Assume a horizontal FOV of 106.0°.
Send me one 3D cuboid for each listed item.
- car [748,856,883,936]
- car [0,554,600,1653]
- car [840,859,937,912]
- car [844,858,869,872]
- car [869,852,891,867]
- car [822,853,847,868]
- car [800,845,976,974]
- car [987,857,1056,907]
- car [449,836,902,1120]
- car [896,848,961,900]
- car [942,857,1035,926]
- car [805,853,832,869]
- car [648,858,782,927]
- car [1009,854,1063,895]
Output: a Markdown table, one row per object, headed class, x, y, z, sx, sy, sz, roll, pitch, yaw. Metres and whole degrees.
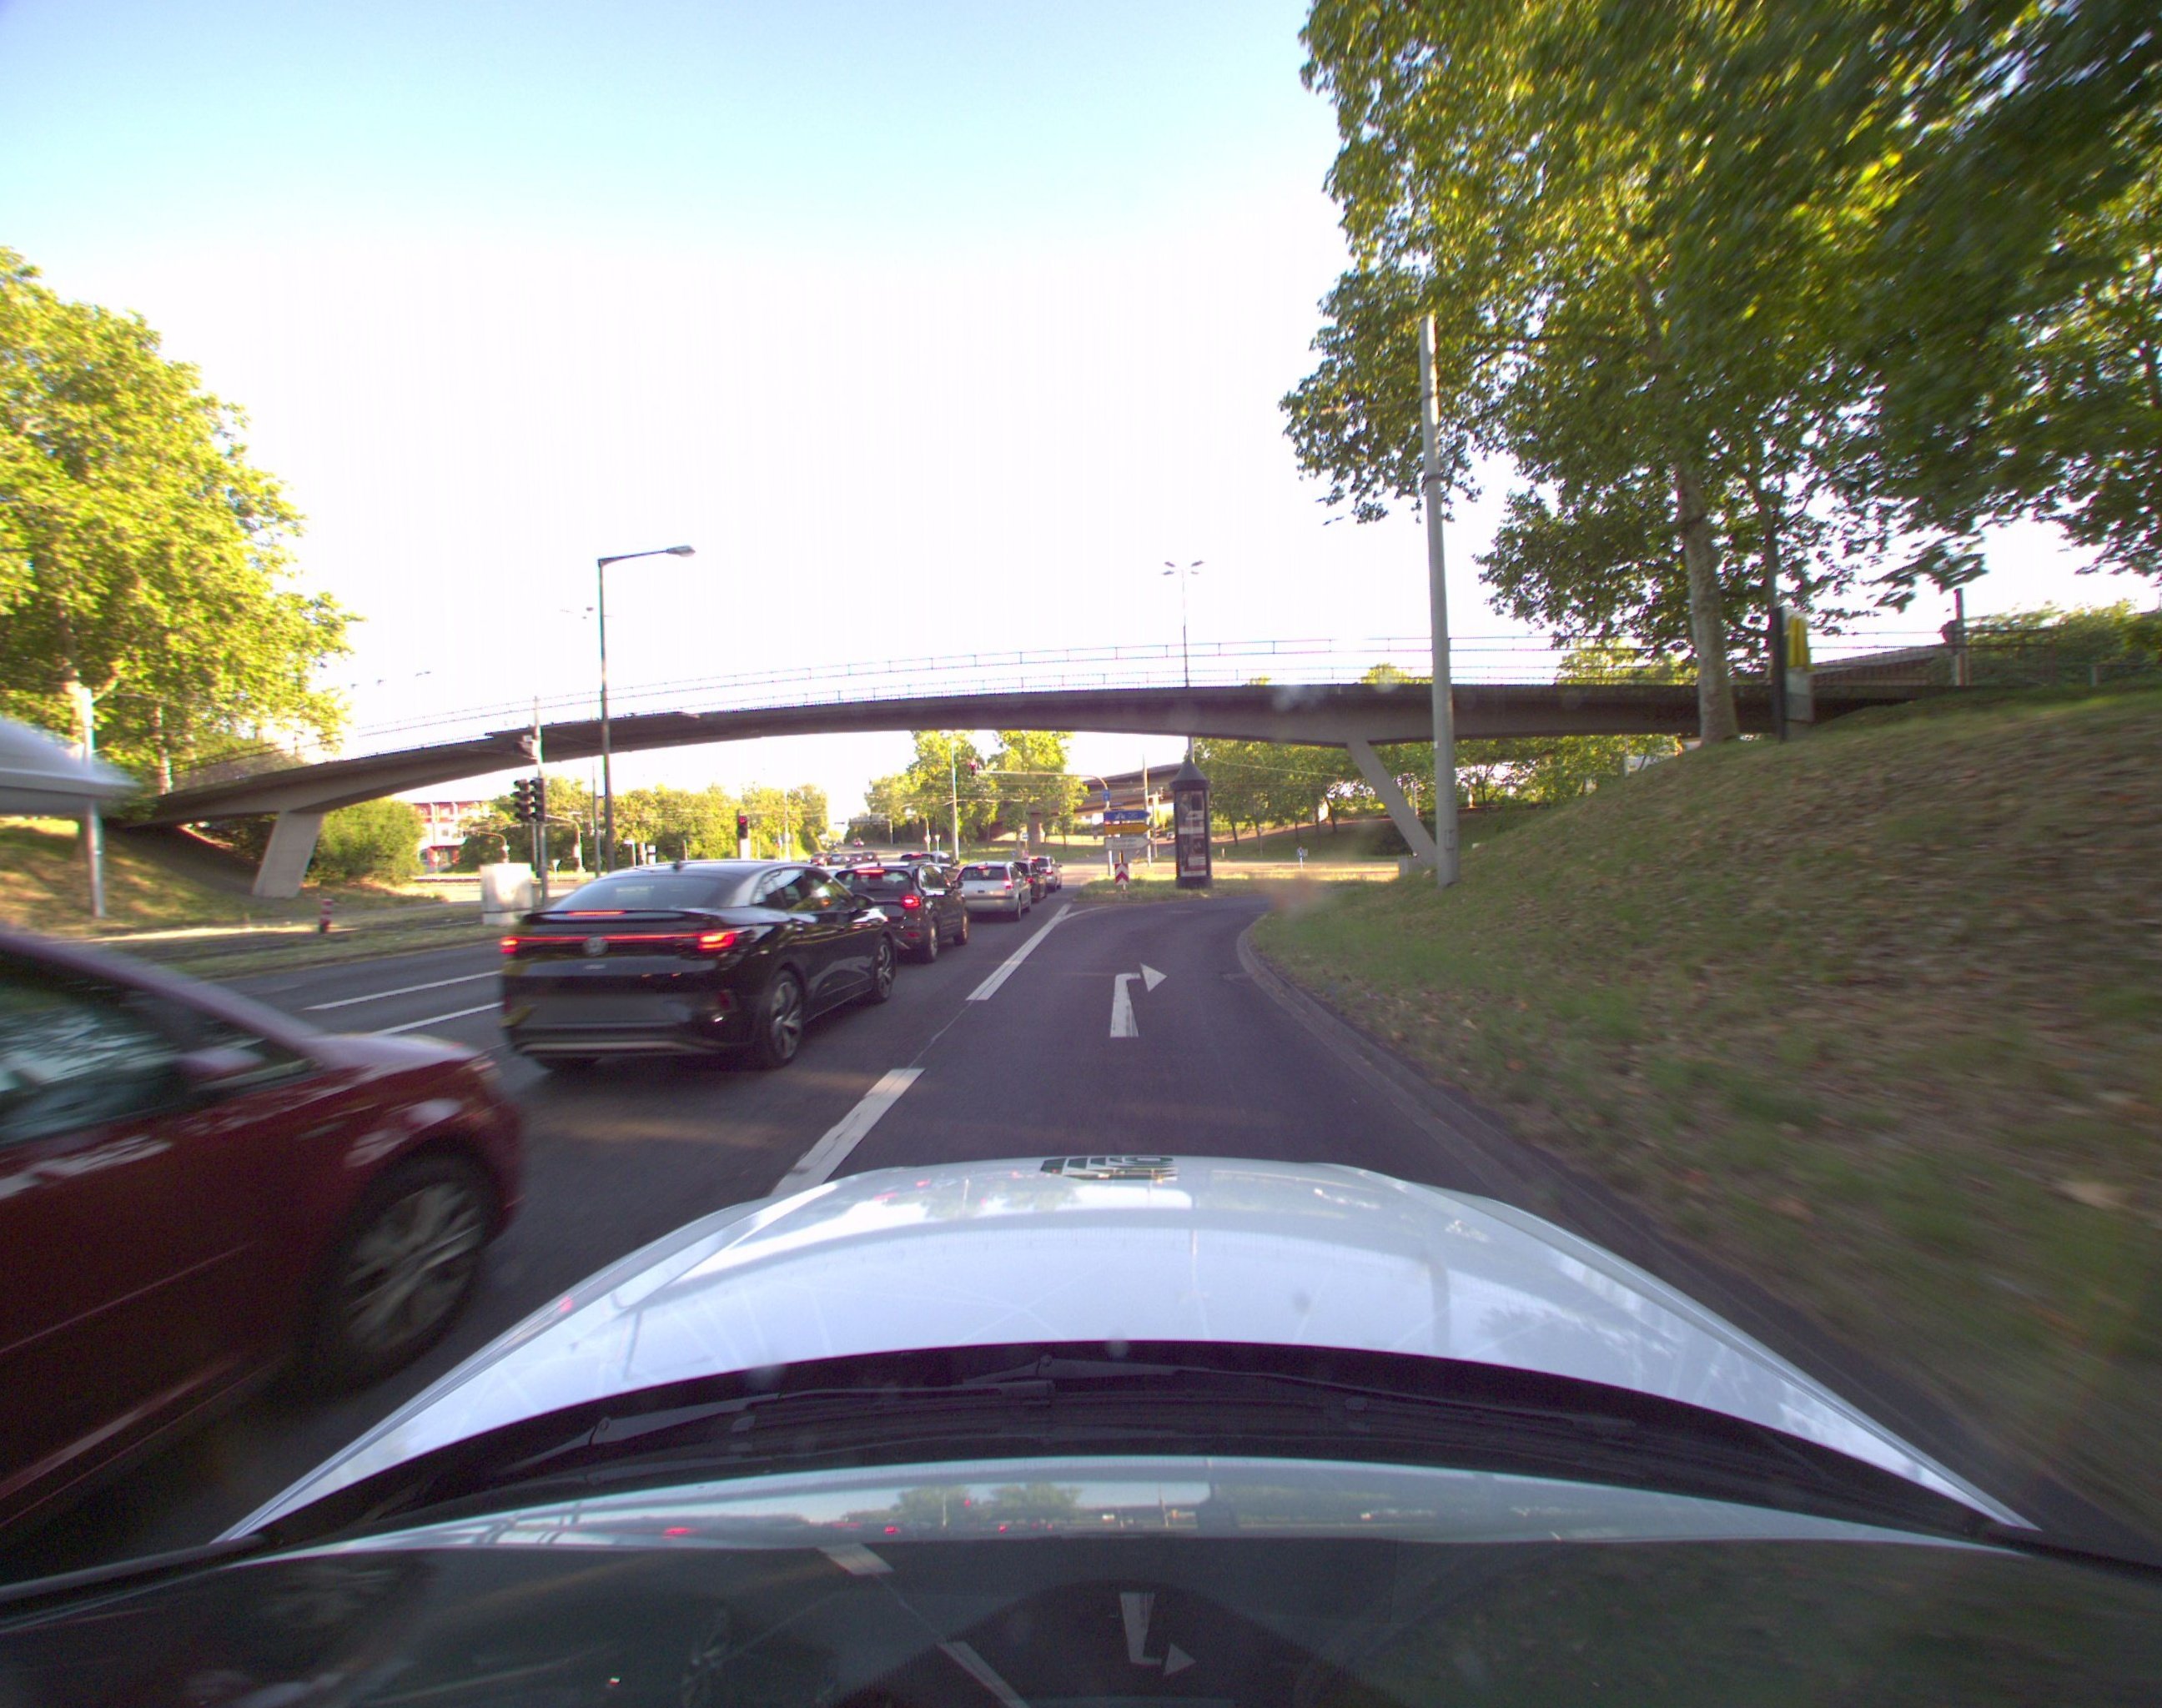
| class | x | y | z | sx | sy | sz | roll | pitch | yaw |
| --- | --- | --- | --- | --- | --- | --- | --- | --- | --- |
| car | -6.207 | 0.909 | 19.577 | 1.656 | 1.565 | 4.192 | -4 | 0 | 2 |
| car | -2.996 | 0.513 | 1.360 | 1.786 | 2.105 | 4.001 | -4 | 0 | 1 |
| car | -6.016 | 0.934 | 25.968 | 1.734 | 1.432 | 4.416 | -1 | 1 | 4 |
| car | -27.143 | 1.287 | 98.566 | 1.872 | 1.575 | 3.675 | -1 | 0 | 0 |
| car | -25.982 | 0.715 | 105.412 | 1.872 | 1.772 | 4.000 | -1 | 0 | 0 |
| car | -31.191 | 0.799 | 103.150 | 1.872 | 1.772 | 4.000 | -1 | 0 | 0 |
| car | -3.062 | 0.786 | 13.808 | 1.785 | 1.749 | 4.002 | -4 | 0 | 2 |
| car | -1.926 | 0.891 | 27.815 | 1.785 | 1.382 | 4.478 | -4 | 0 | 2 |
| car | -3.128 | 0.793 | 7.454 | 1.785 | 1.749 | 4.243 | -4 | 0 | 2 |
| car | -5.956 | 0.712 | 32.286 | 1.788 | 1.792 | 4.821 | -4 | 0 | -3 |
| car | -2.322 | 0.909 | 21.470 | 1.785 | 1.481 | 4.002 | -4 | 0 | 2 |
| car | -30.897 | 0.840 | 96.027 | 1.872 | 1.772 | 4.000 | -1 | 0 | 0 |
| car | -9.919 | 0.982 | 22.413 | 1.656 | 1.565 | 4.002 | -4 | 0 | 2 |
| car | -1.811 | 0.783 | 33.830 | 1.785 | 1.442 | 4.002 | -4 | 0 | 2 |
